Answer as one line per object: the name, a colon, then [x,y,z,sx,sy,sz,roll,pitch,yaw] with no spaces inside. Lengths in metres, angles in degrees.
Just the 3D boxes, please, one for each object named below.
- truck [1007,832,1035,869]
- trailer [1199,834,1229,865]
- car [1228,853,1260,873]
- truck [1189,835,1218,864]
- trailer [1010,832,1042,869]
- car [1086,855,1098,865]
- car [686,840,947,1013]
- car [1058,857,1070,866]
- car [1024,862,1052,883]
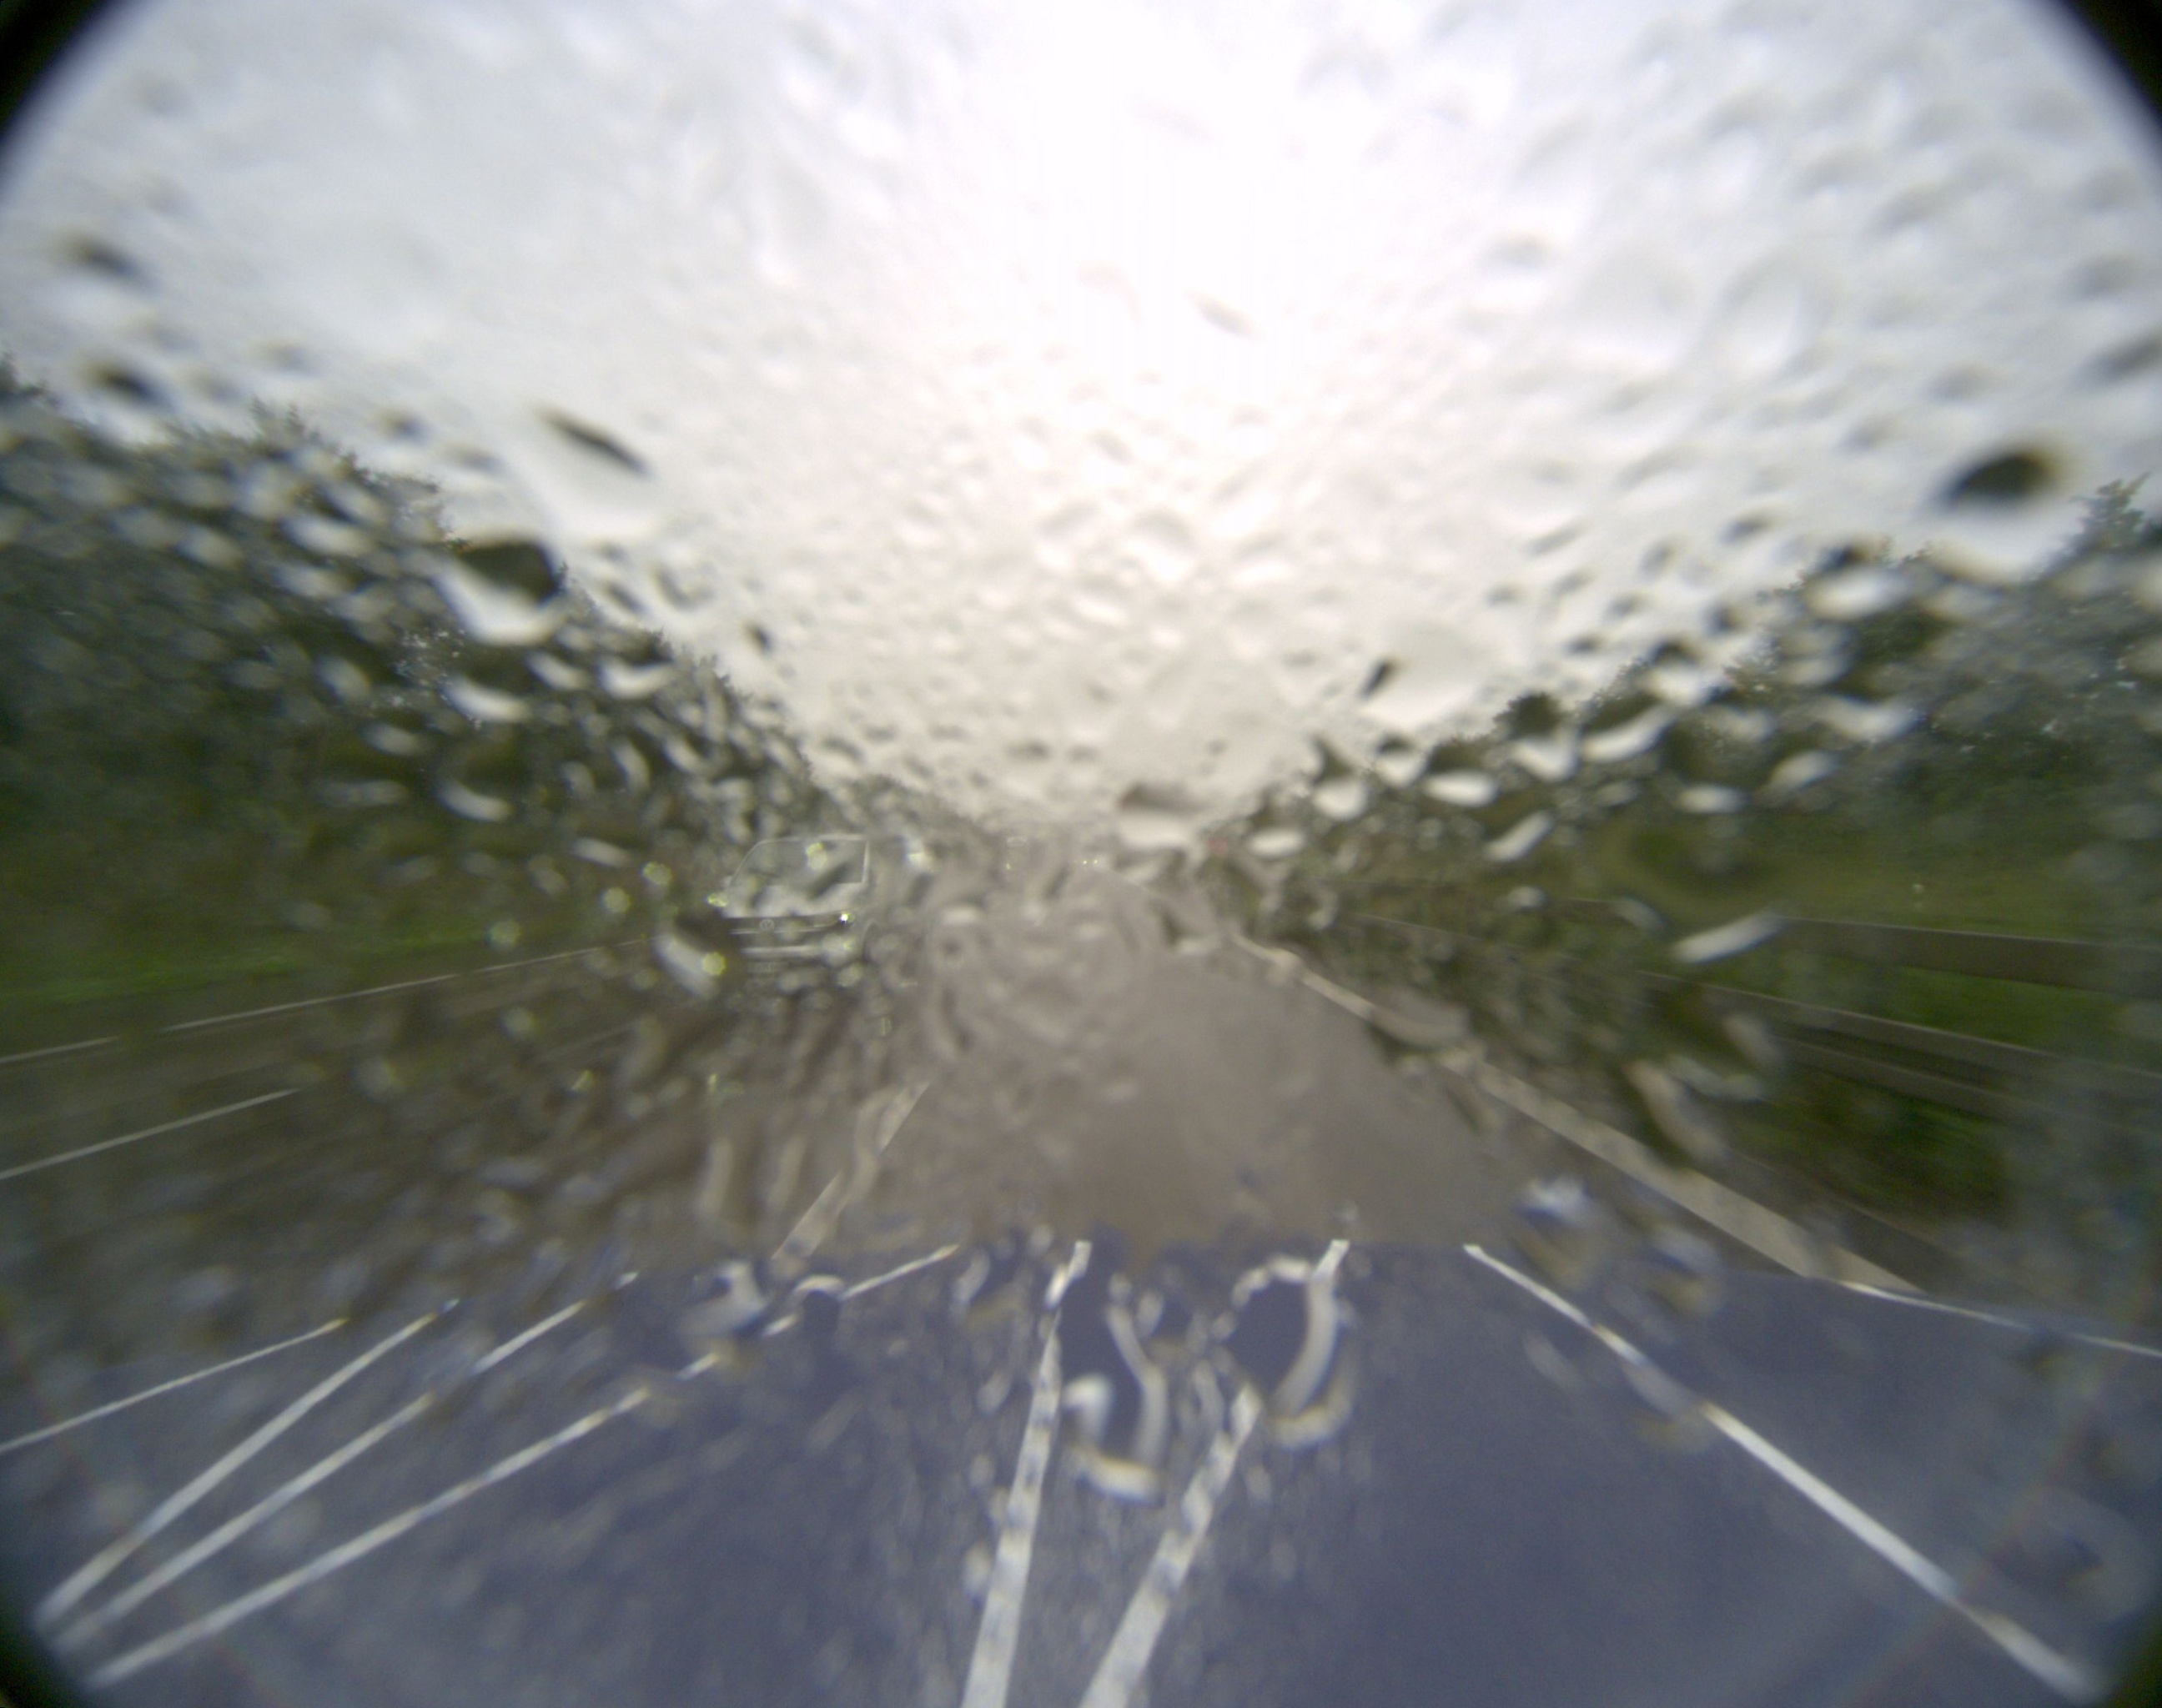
truck: [-6.766,-0.401,85.993,2.618,4.064,5.238,-1,0,1]
trailer: [18.976,-0.678,108.616,2.704,4.206,8.489,-2,0,0]
car: [14.121,0.736,66.075,1.800,1.673,4.958,0,0,1]
truck: [19.027,-0.668,118.558,2.704,4.206,11.353,-2,0,0]
trailer: [-6.651,-0.394,93.240,2.618,4.064,13.790,-1,0,1]
car: [1.727,0.968,117.161,1.769,1.448,3.959,-1,0,1]
car: [-3.361,0.802,10.896,1.892,1.873,5.009,-1,0,1]
car: [-2.760,1.187,122.258,1.769,1.448,3.959,-1,0,1]
car: [-3.190,1.336,56.537,1.769,1.448,3.959,-1,0,1]
